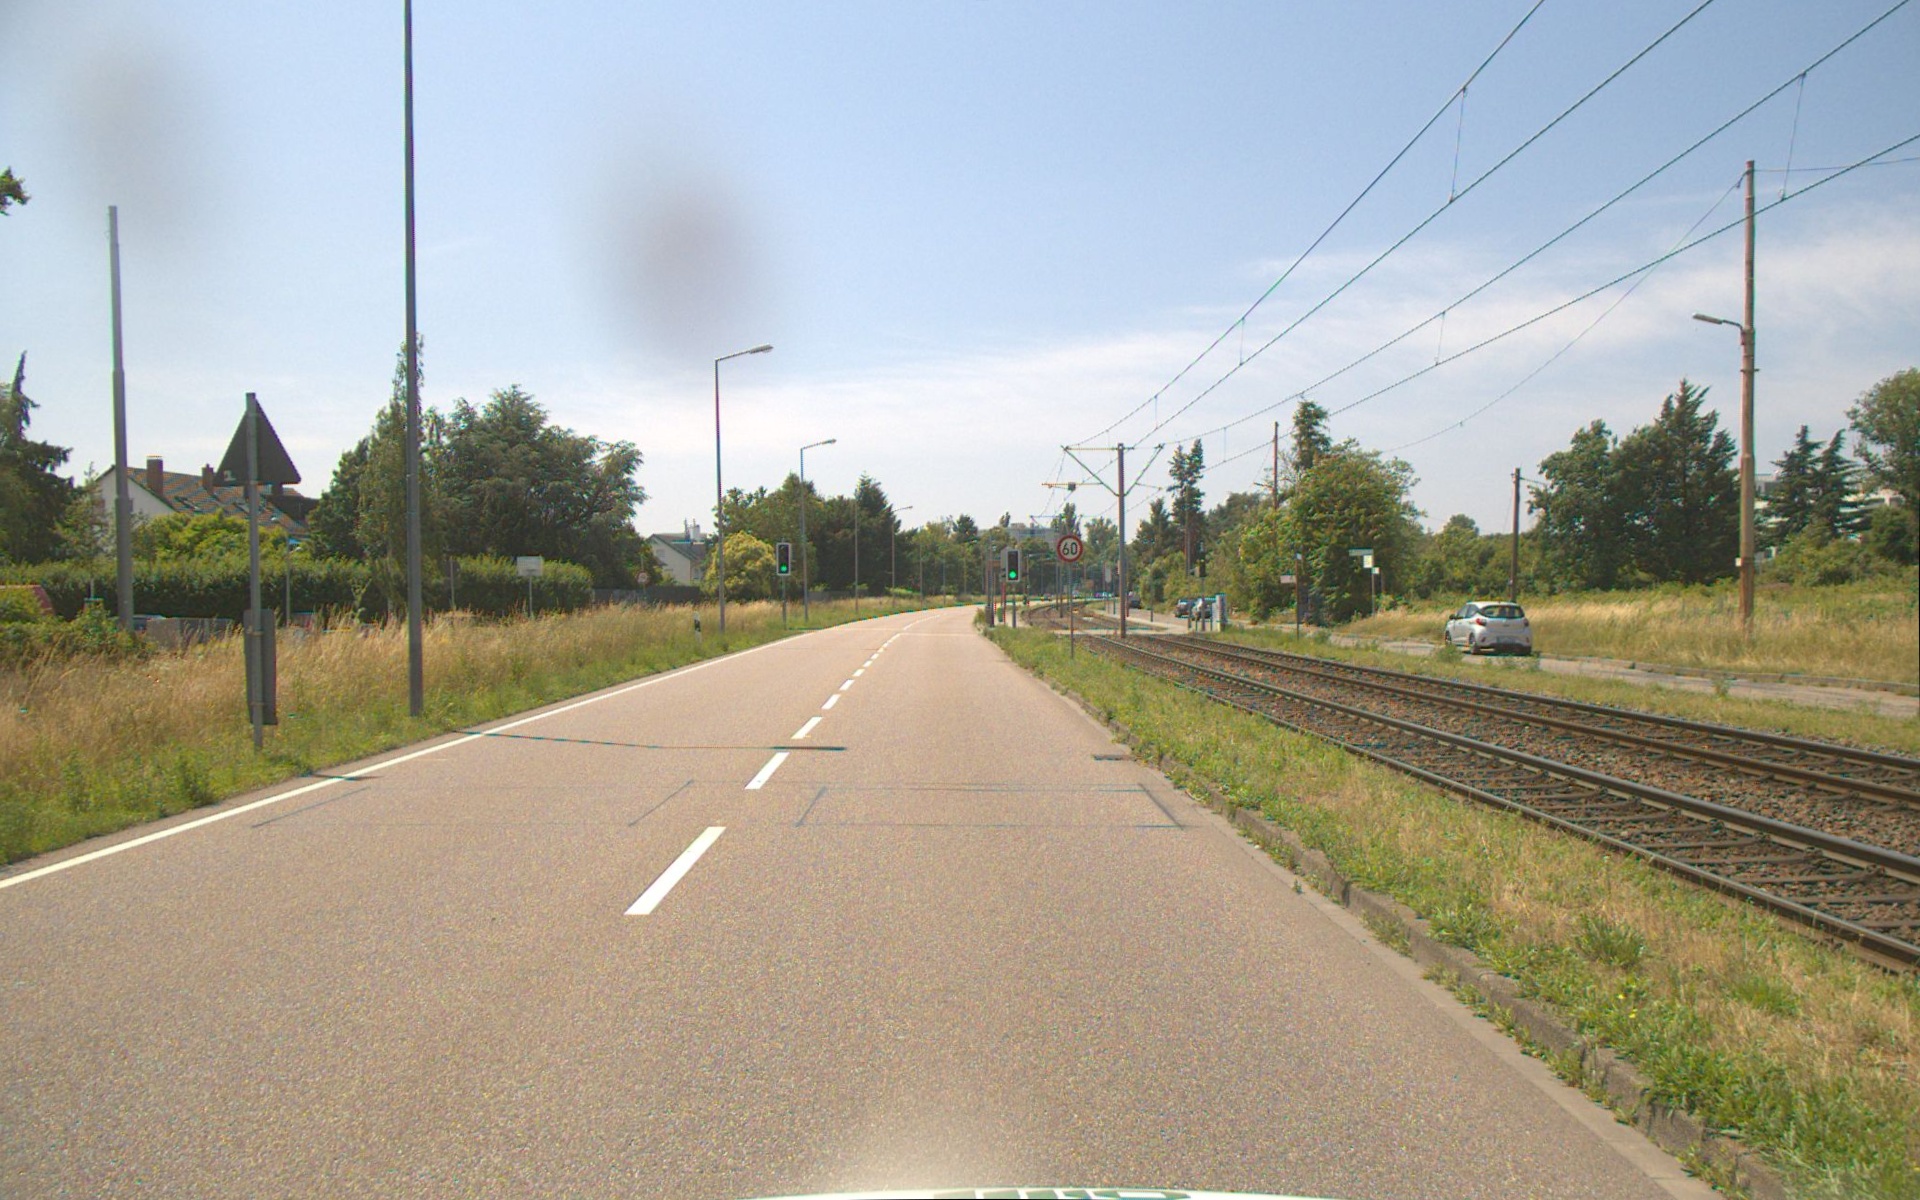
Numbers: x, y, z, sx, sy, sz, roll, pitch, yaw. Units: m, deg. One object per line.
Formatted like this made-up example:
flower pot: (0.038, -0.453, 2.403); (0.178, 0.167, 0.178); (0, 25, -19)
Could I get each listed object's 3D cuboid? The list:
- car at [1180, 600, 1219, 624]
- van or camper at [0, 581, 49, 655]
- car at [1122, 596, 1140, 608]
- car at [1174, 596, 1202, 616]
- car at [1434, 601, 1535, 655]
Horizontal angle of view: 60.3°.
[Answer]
car: (14.838, 0.719, 102.697); (1.899, 1.447, 4.001); (0, 0, 1)
van or camper: (-33.249, 0.588, 55.085); (4.661, 2.430, 1.998); (0, 0, -5)
car: (19.846, 0.195, 192.322); (1.822, 1.353, 4.517); (0, 0, 3)
car: (16.971, 0.413, 123.049); (1.586, 1.447, 4.874); (0, 0, 2)
car: (15.278, 0.787, 48.338); (1.678, 1.514, 4.001); (0, 0, 0)
